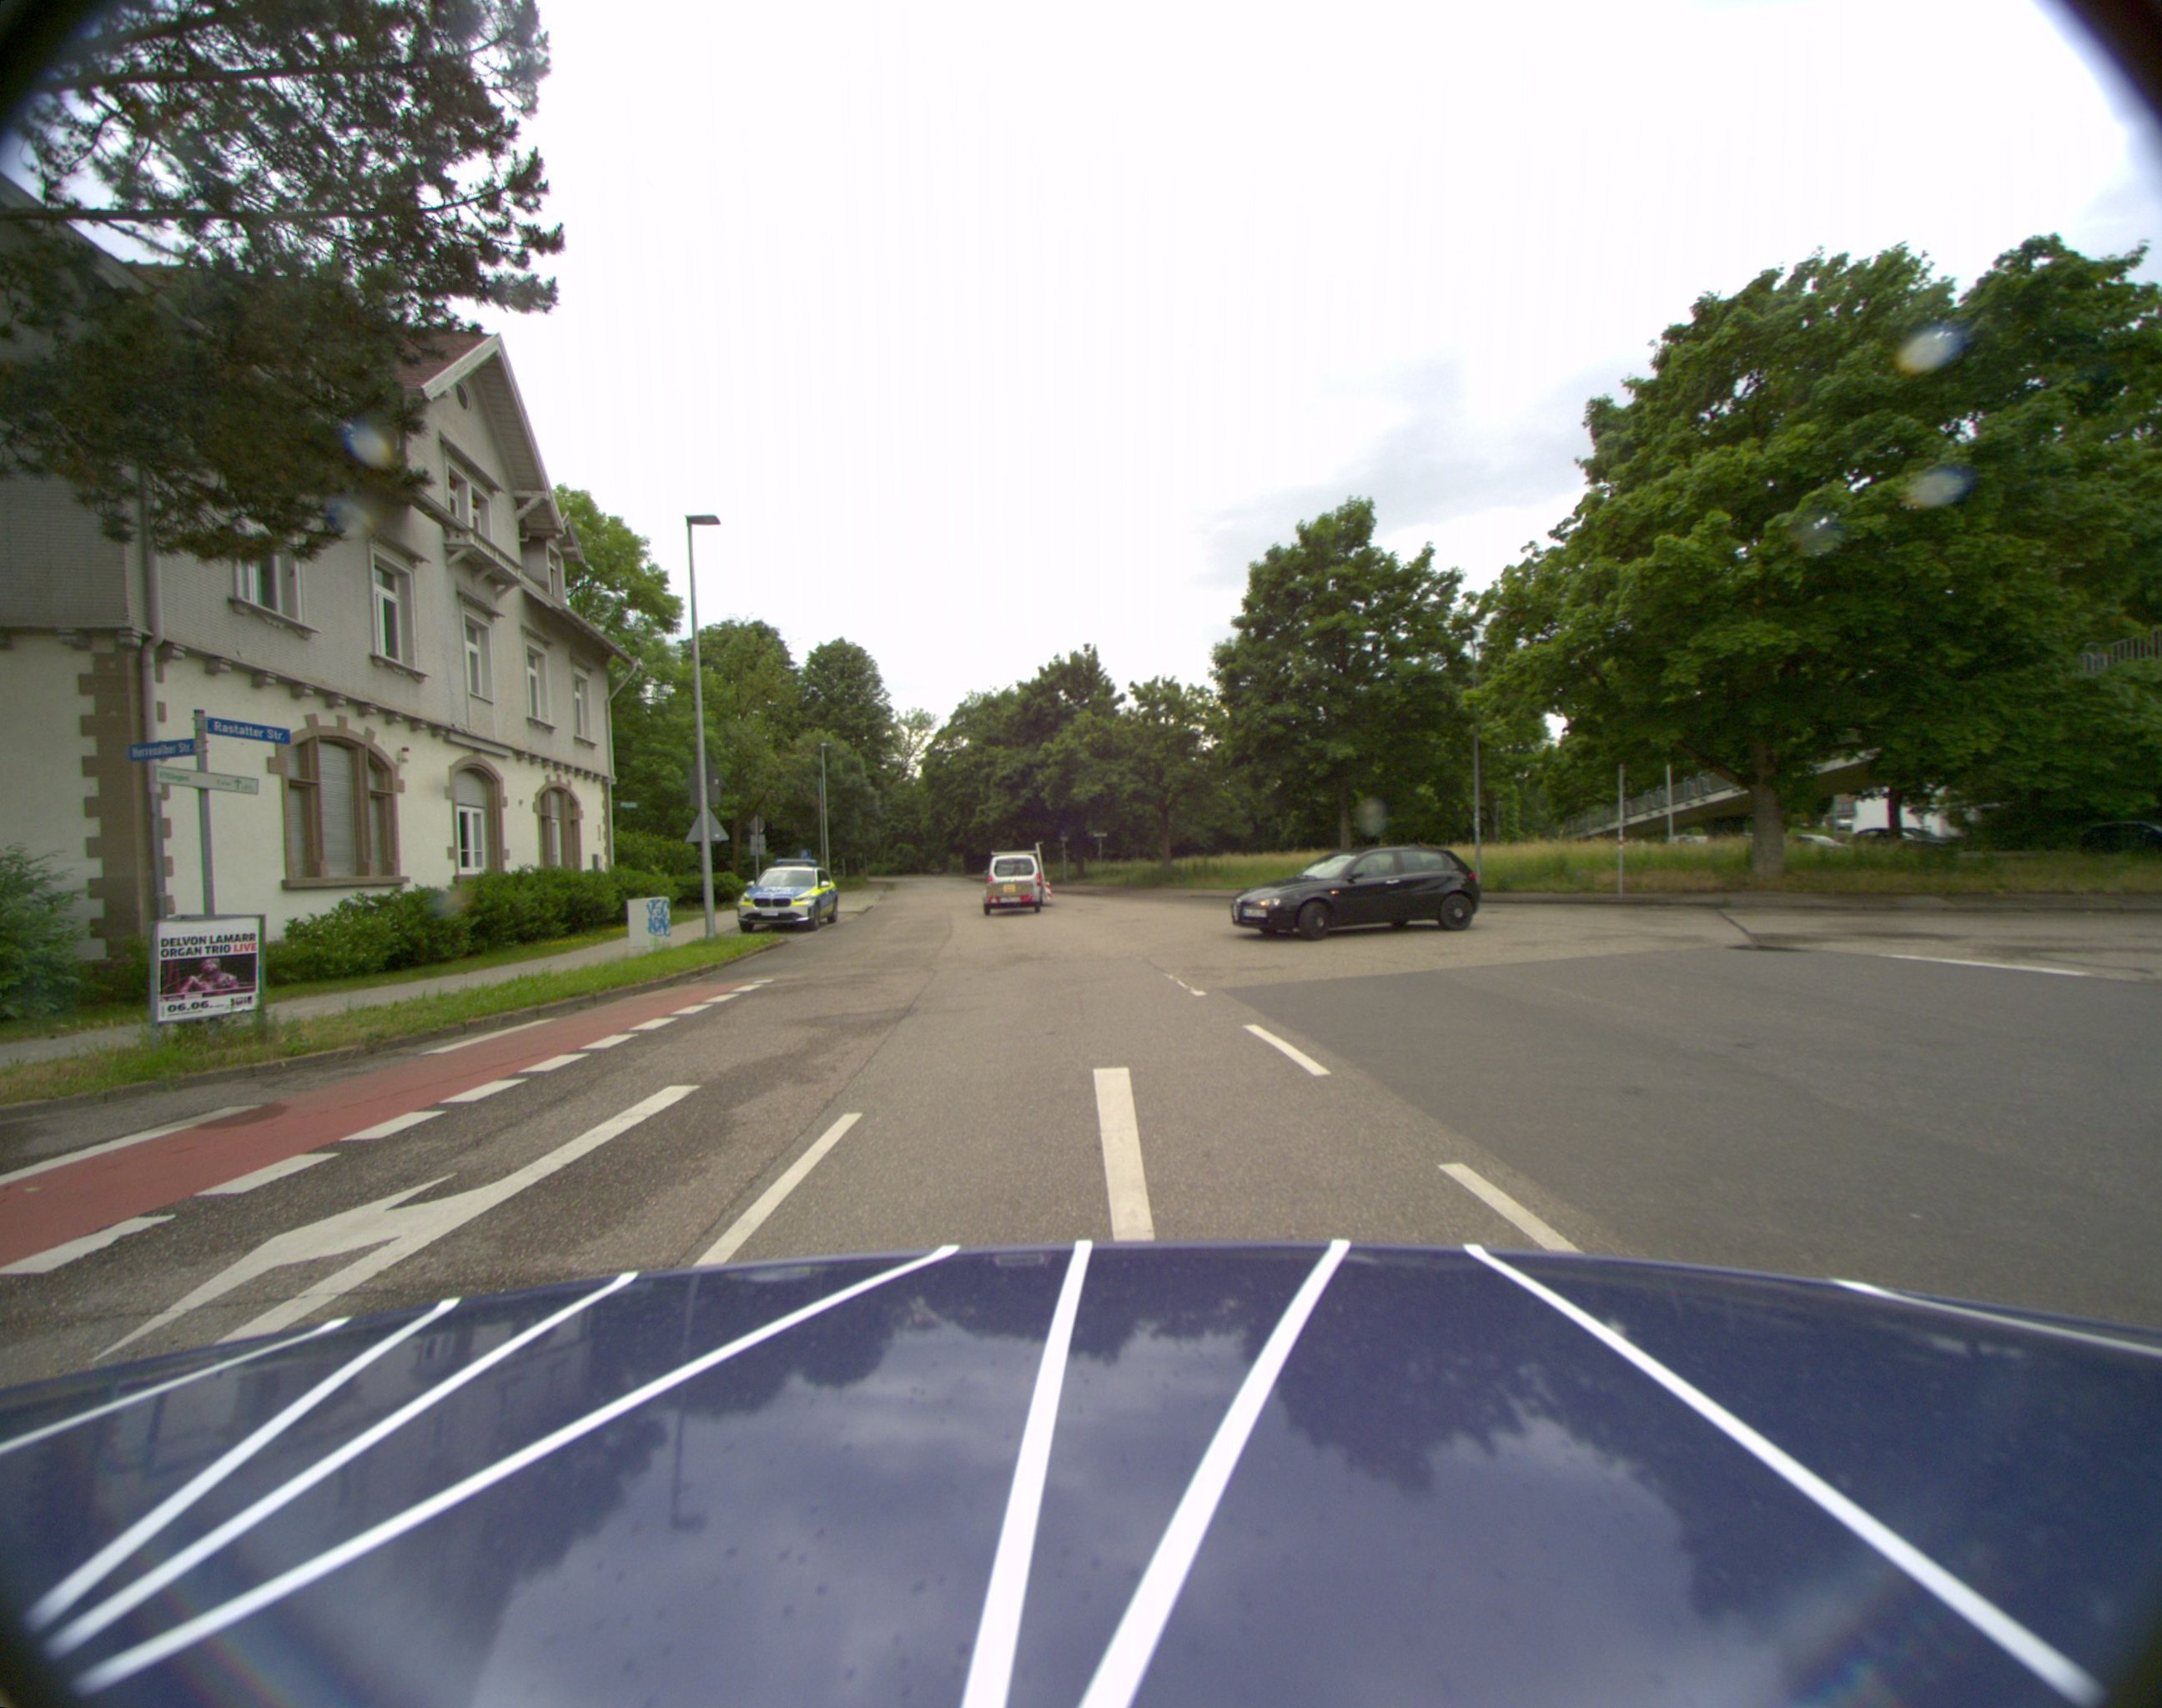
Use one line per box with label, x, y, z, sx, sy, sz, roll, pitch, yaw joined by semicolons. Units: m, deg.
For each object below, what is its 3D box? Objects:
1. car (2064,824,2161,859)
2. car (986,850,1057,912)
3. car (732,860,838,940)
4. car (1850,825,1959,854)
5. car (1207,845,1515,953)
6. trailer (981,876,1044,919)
car;40.401;-0.493;28.738;1.692;1.231;4.003;-2;0;11
car;-1.970;0.827;25.940;2.094;1.847;4.220;-3;1;-3
car;-7.616;1.095;19.957;1.937;1.839;3.996;0;0;-12
car;41.822;-0.703;38.716;1.692;1.343;4.003;-2;0;11
car;4.601;0.676;12.717;4.542;1.448;1.802;-2;0;-12
trailer;-1.919;1.226;22.101;1.571;0.980;3.464;-2;0;-2
